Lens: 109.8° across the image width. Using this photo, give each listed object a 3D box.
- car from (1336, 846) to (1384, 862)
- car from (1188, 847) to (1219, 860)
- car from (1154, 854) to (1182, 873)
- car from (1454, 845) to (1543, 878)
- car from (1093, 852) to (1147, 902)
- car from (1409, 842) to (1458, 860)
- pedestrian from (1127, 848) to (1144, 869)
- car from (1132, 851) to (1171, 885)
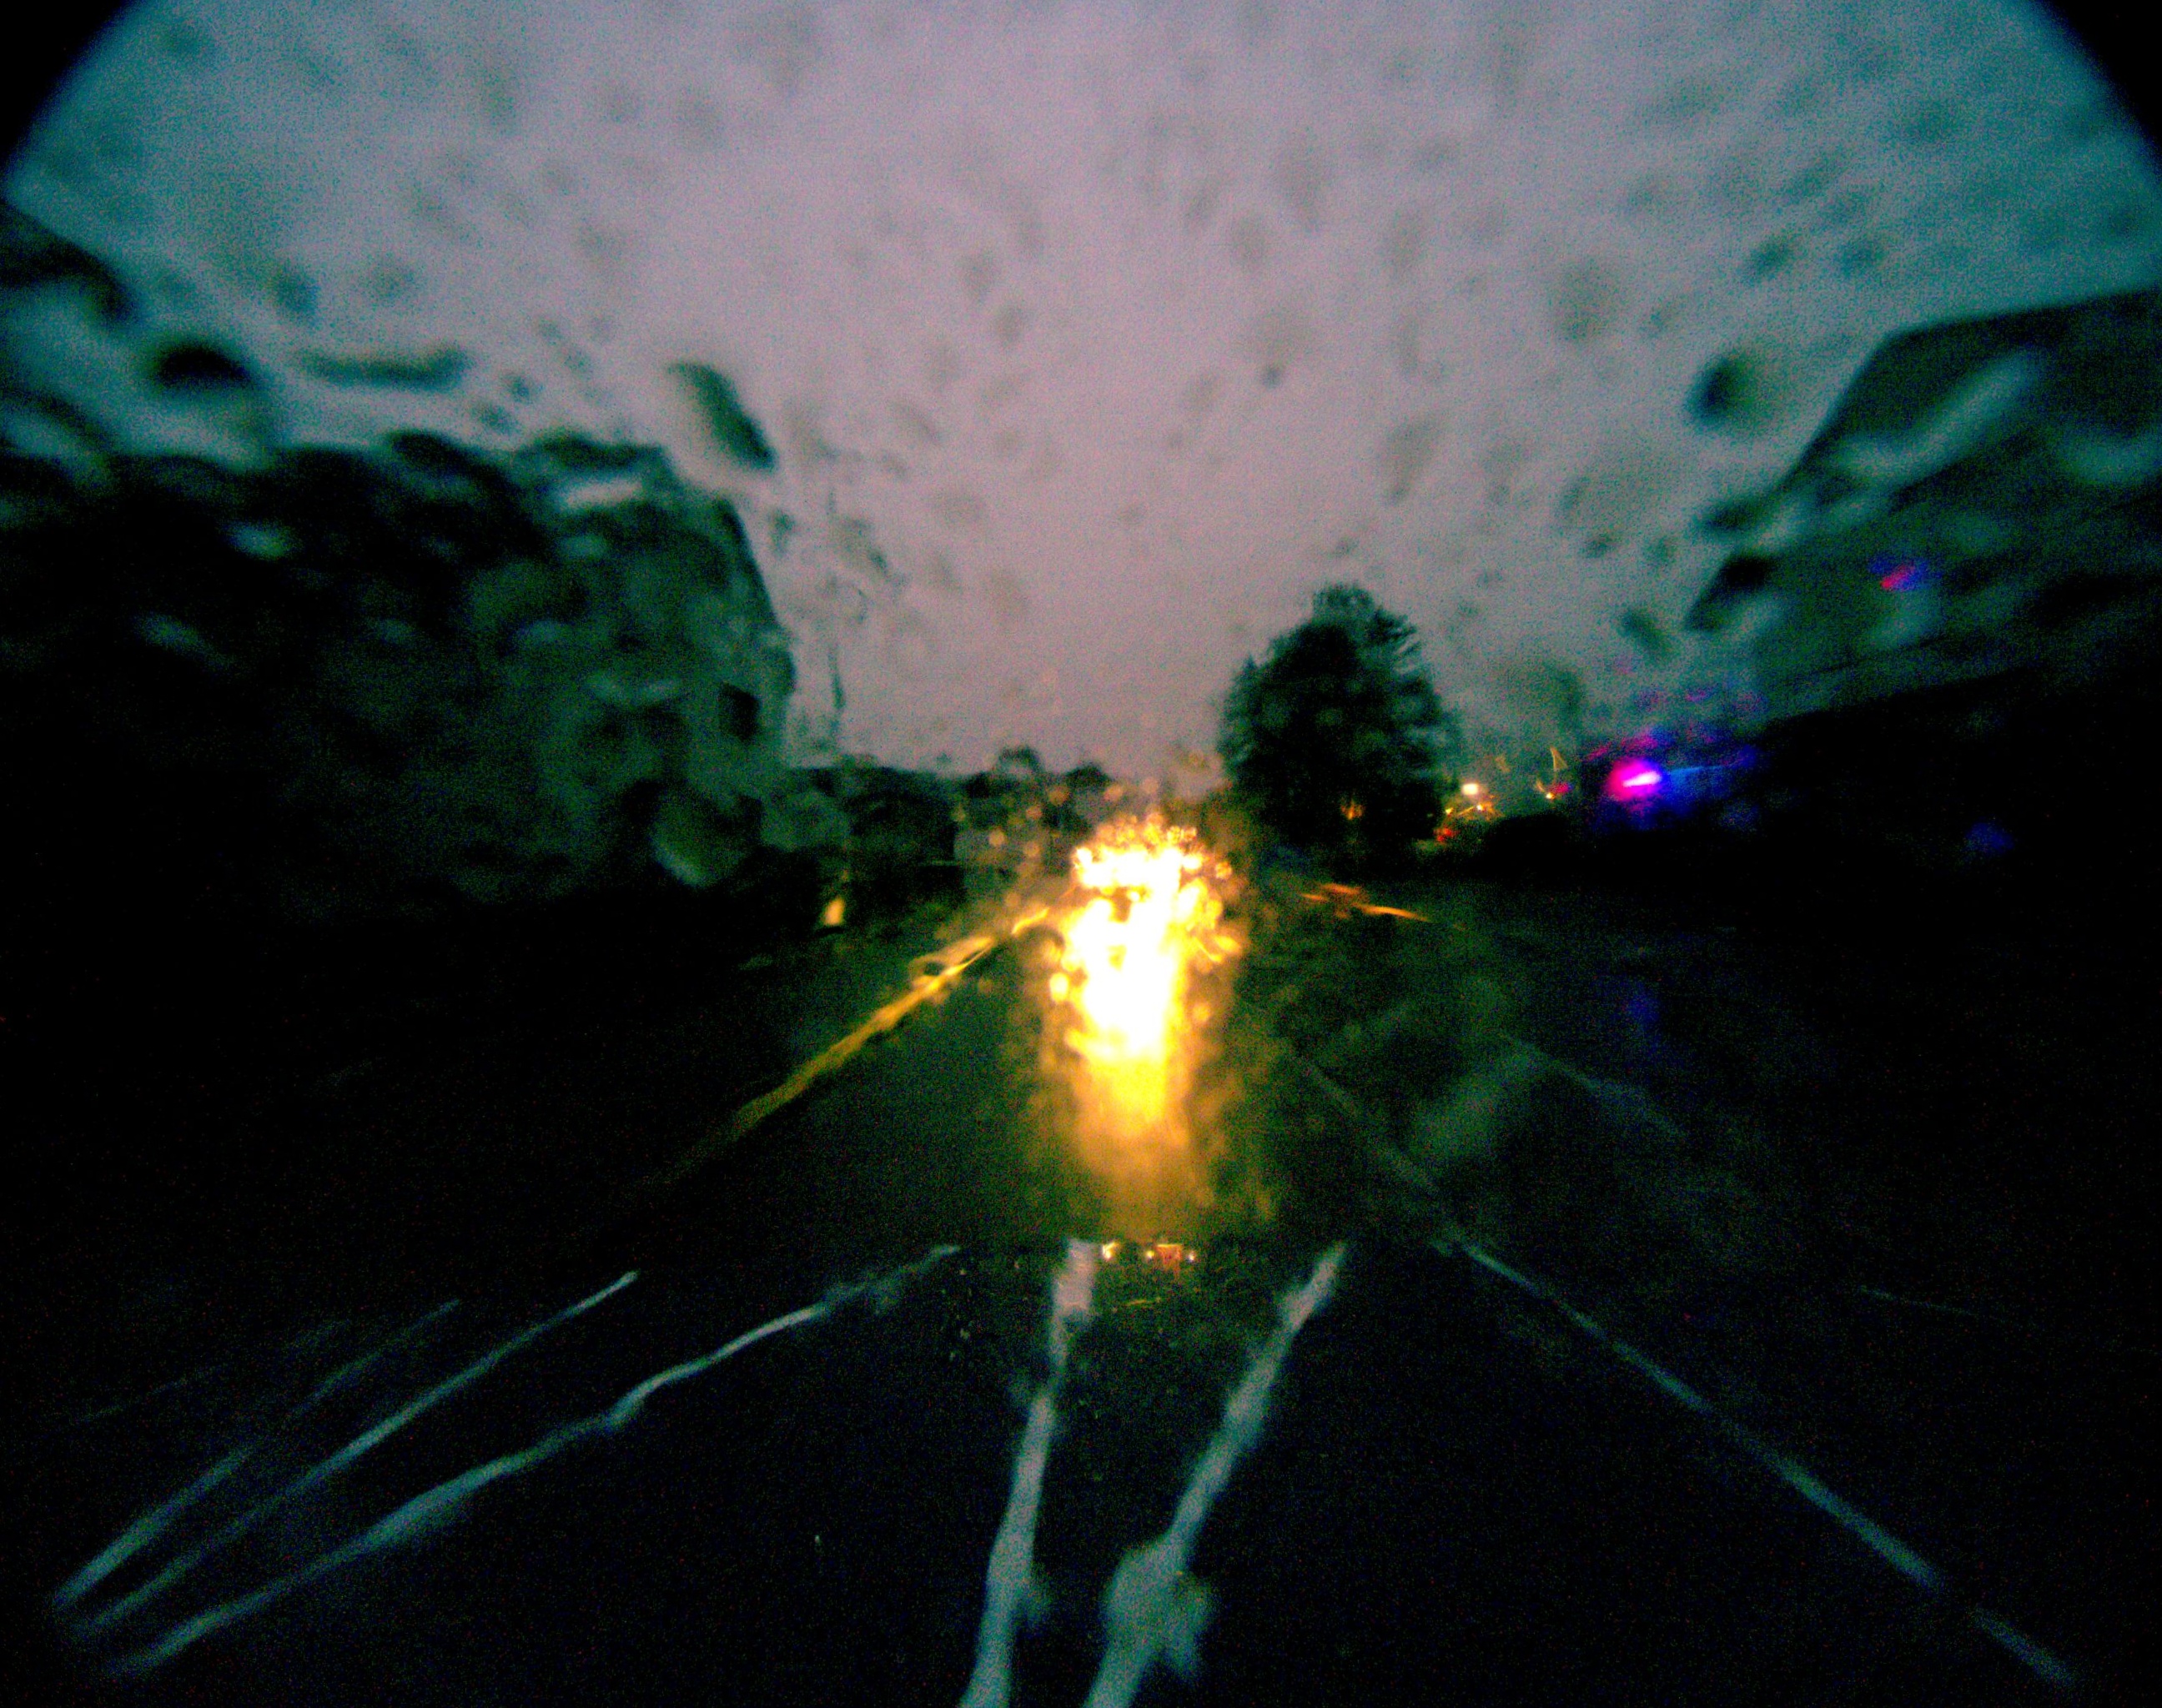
[{"bbox_3d":[31.649,0.039,86.250,4.780,1.701,2.034,-1,0,4],"label":"car"},{"bbox_3d":[17.512,-0.081,108.990,1.780,1.713,4.409,-1,0,-38],"label":"car"},{"bbox_3d":[7.195,0.767,62.664,1.997,1.464,4.003,-2,0,10],"label":"car"},{"bbox_3d":[27.539,0.505,50.205,4.658,1.965,2.128,-3,-1,0],"label":"car"},{"bbox_3d":[1.488,0.772,27.534,1.775,1.632,4.423,-1,0,5],"label":"car"},{"bbox_3d":[44.915,-0.375,96.894,5.196,2.269,2.220,1,0,5],"label":"car"},{"bbox_3d":[4.749,0.383,65.969,1.256,1.855,1.304,1,1,14],"label":"pedestrian"},{"bbox_3d":[3.924,0.734,42.008,1.897,1.689,4.242,-4,0,6],"label":"car"}]
